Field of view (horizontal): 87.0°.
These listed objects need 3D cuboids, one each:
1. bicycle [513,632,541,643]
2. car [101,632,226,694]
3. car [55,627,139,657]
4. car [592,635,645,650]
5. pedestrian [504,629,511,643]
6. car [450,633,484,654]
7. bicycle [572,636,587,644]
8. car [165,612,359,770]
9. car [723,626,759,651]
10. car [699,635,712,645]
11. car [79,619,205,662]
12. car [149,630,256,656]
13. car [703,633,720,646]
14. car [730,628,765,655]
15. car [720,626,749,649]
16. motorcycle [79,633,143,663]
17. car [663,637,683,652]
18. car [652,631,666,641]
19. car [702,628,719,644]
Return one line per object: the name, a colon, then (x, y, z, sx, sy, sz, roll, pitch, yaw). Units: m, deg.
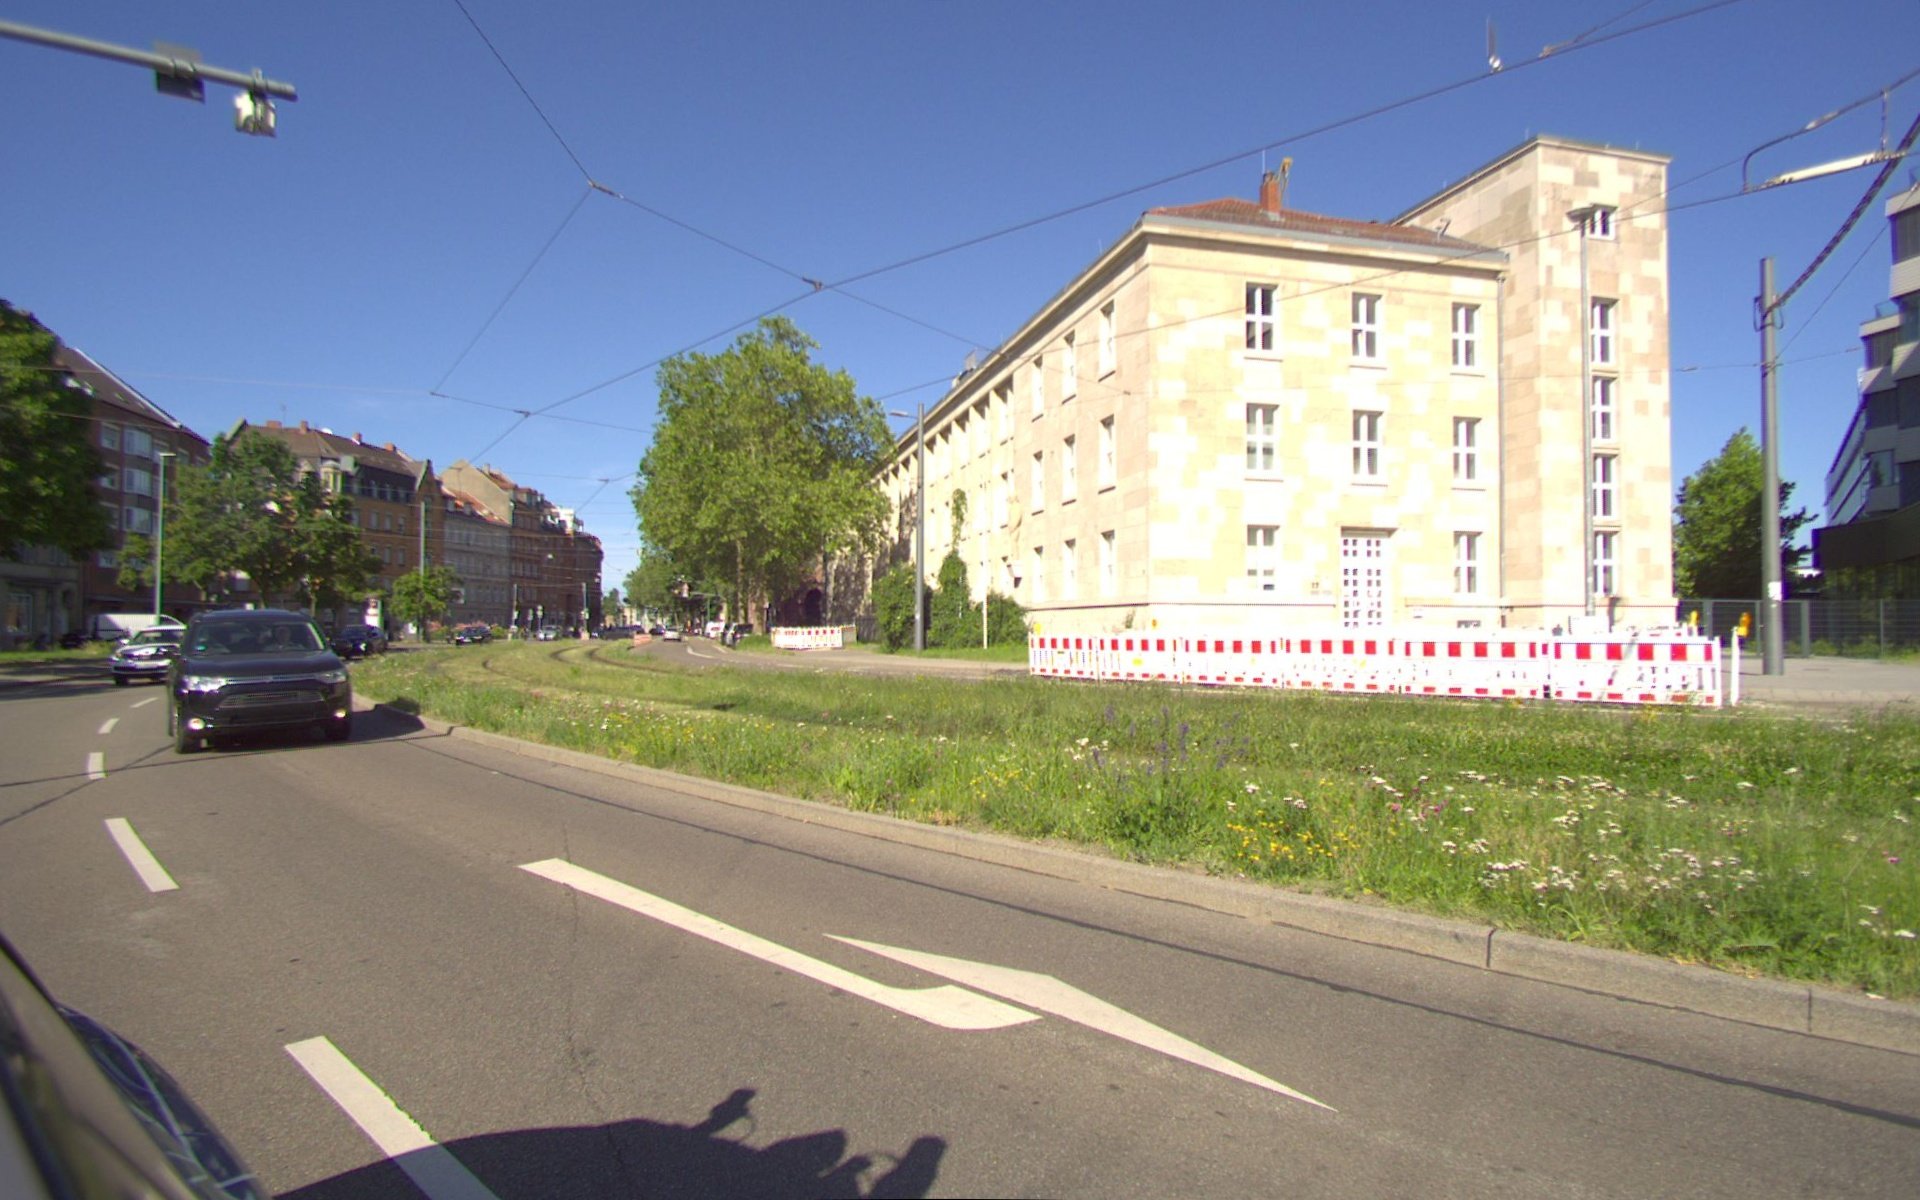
bicycle: (-56.604, 4.923, 132.423, 1.938, 1.427, 6.842, 0, -2, -11)
car: (-23.047, 1.757, 29.472, 1.771, 1.648, 4.408, 0, -2, -24)
car: (-53.360, 2.548, 62.678, 1.968, 1.485, 4.501, -6, 1, -12)
car: (-35.010, 4.315, 103.853, 4.907, 1.464, 1.829, 0, -2, 11)
pedestrian: (-59.773, 4.714, 133.740, 0.807, 1.876, 0.706, 1, -2, -25)
car: (-36.393, 3.194, 74.755, 1.858, 1.438, 4.390, 0, -2, -21)
bicycle: (-56.523, 5.915, 150.435, 1.894, 1.146, 0.844, 1, -2, 1)
car: (-9.354, 1.058, 13.382, 1.812, 1.695, 4.652, 0, -1, -38)
car: (-14.187, 2.490, 65.468, 1.804, 1.600, 4.409, 1, -2, -18)
car: (-39.108, 6.130, 155.523, 1.766, 1.563, 4.319, 0, -2, -15)
car: (-43.080, 2.170, 53.385, 2.019, 2.091, 4.814, -2, -4, 40)
car: (-45.161, 2.569, 60.417, 2.020, 1.446, 4.812, -2, -4, 42)
car: (-30.903, 4.971, 125.783, 1.750, 1.586, 3.688, 1, -3, -19)
car: (-12.381, 2.409, 58.790, 1.805, 1.504, 4.193, 0, -2, -14)
car: (-17.098, 2.795, 76.489, 1.804, 1.651, 4.409, 0, -2, -17)
motorcycle: (-42.195, 2.388, 50.351, 0.850, 1.431, 2.242, -1, -3, 25)
car: (-28.504, 4.369, 100.551, 1.805, 1.464, 4.182, 1, -2, -14)
car: (-57.921, 6.973, 194.579, 2.034, 1.905, 4.527, 2, -3, -11)
car: (-33.425, 4.802, 135.502, 1.889, 2.113, 4.606, 0, -2, -16)
